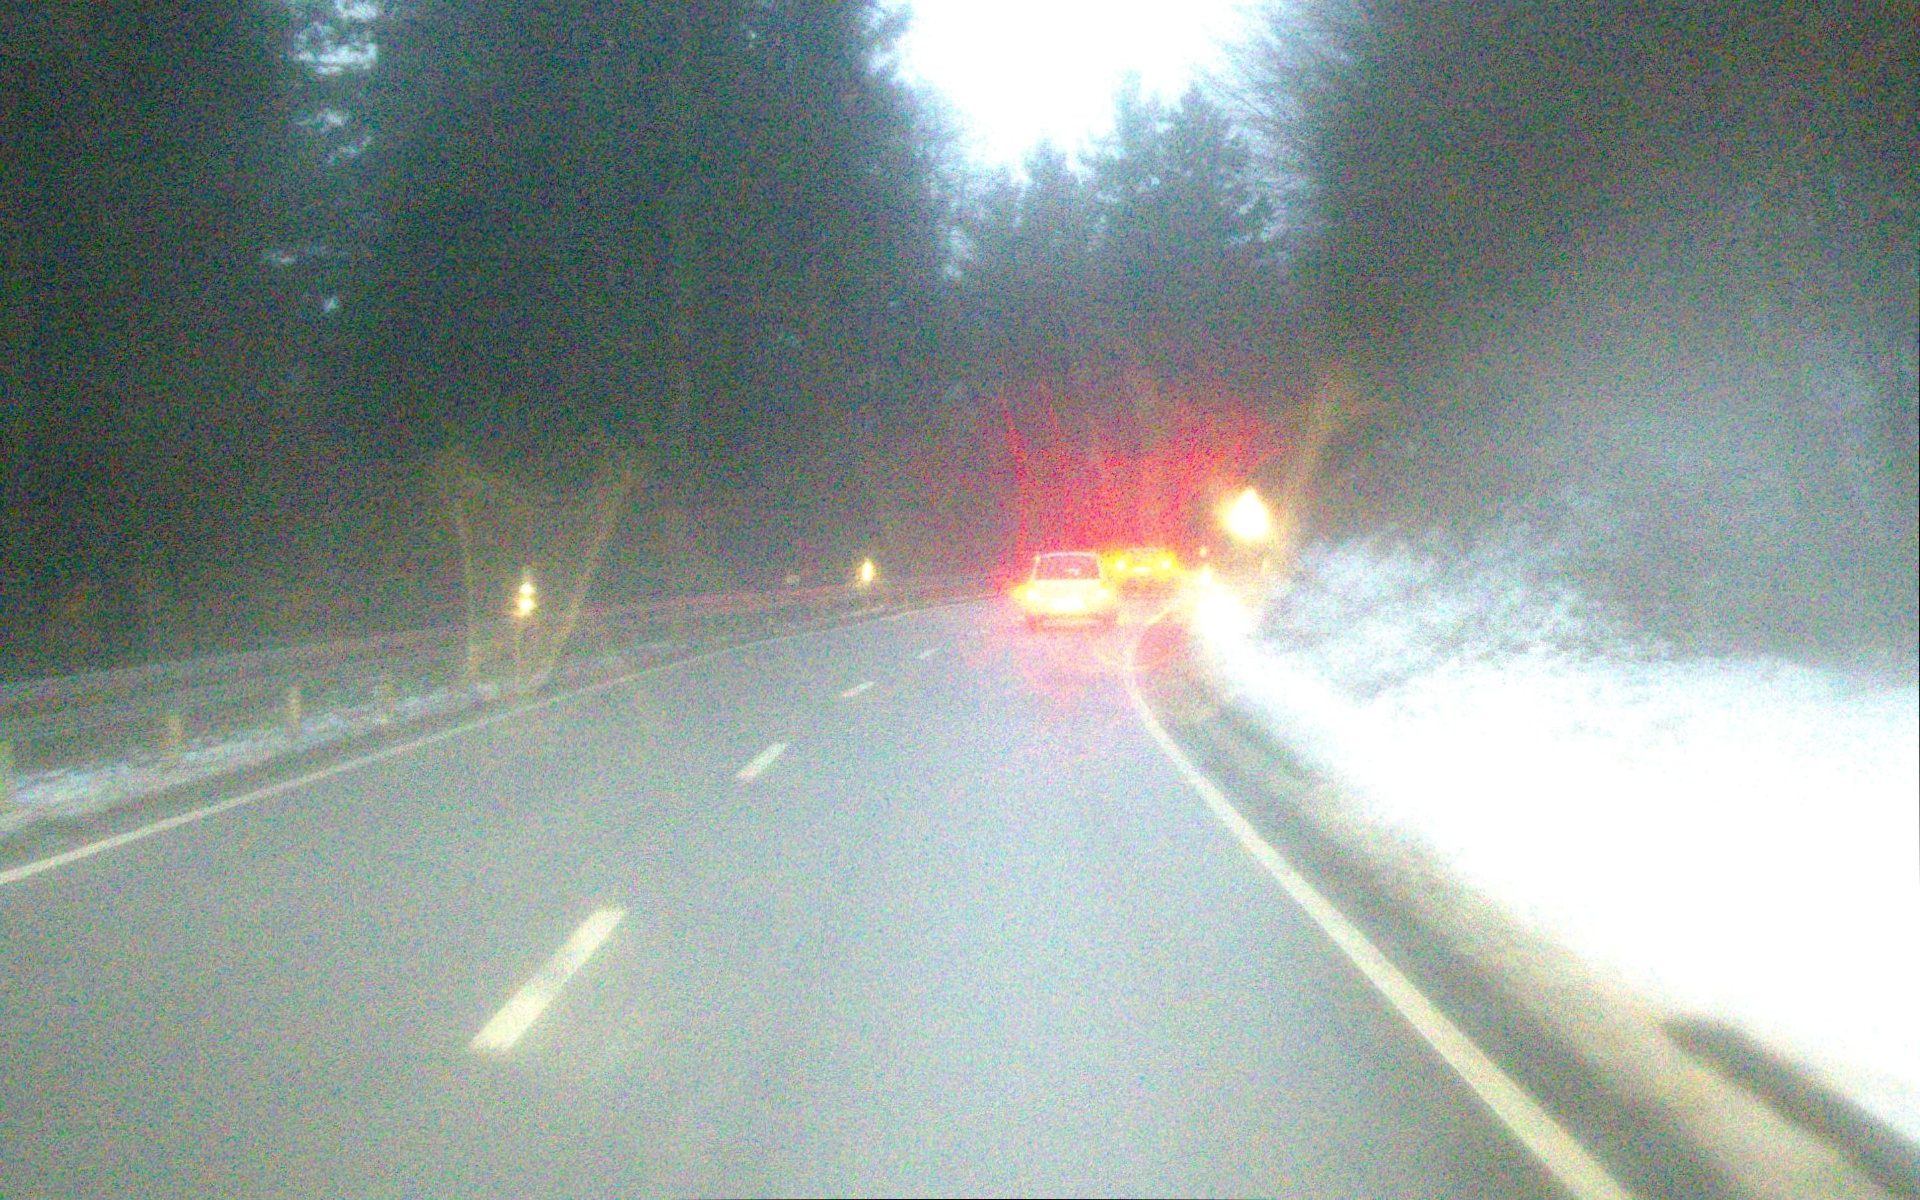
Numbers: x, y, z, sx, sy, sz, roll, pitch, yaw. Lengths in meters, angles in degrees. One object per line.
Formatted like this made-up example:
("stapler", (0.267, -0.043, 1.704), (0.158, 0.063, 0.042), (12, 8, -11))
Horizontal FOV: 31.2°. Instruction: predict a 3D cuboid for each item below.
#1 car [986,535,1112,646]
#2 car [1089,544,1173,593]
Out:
("car", (1.677, -0.209, 63.441), (1.994, 1.866, 3.999), (-3, 1, 5))
("car", (4.999, -0.947, 100.782), (1.993, 1.305, 4.001), (-3, 1, -3))
